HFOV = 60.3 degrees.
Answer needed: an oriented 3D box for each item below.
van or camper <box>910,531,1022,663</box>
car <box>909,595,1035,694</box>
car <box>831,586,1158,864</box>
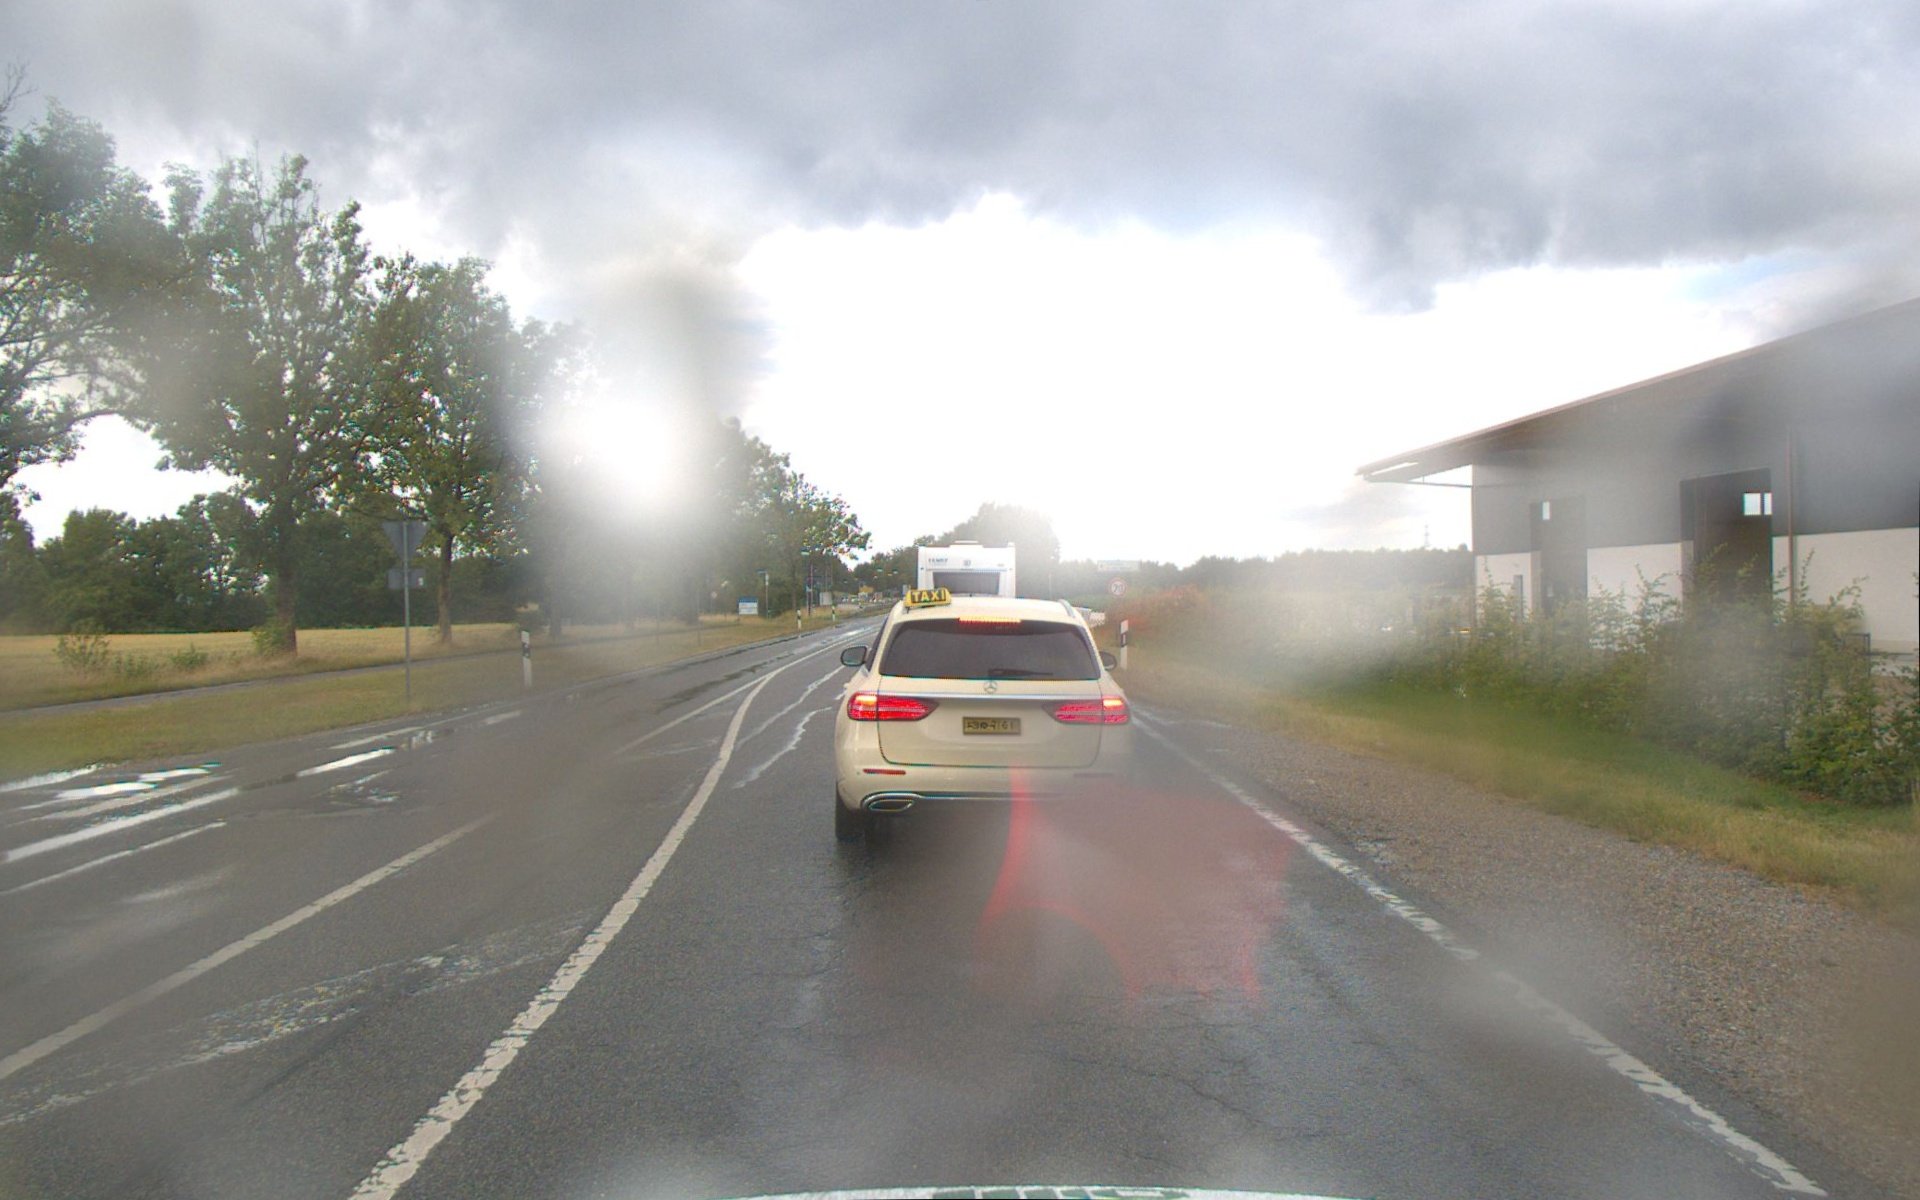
[{"bbox_3d":[0.161,-0.078,40.115,2.446,2.880,5.934,-2,0,0],"label":"van or camper"},{"bbox_3d":[0.153,0.641,26.275,1.856,1.454,3.927,0,0,-1],"label":"car"},{"bbox_3d":[0.188,0.669,10.987,1.760,1.490,4.030,0,0,0],"label":"car"}]
